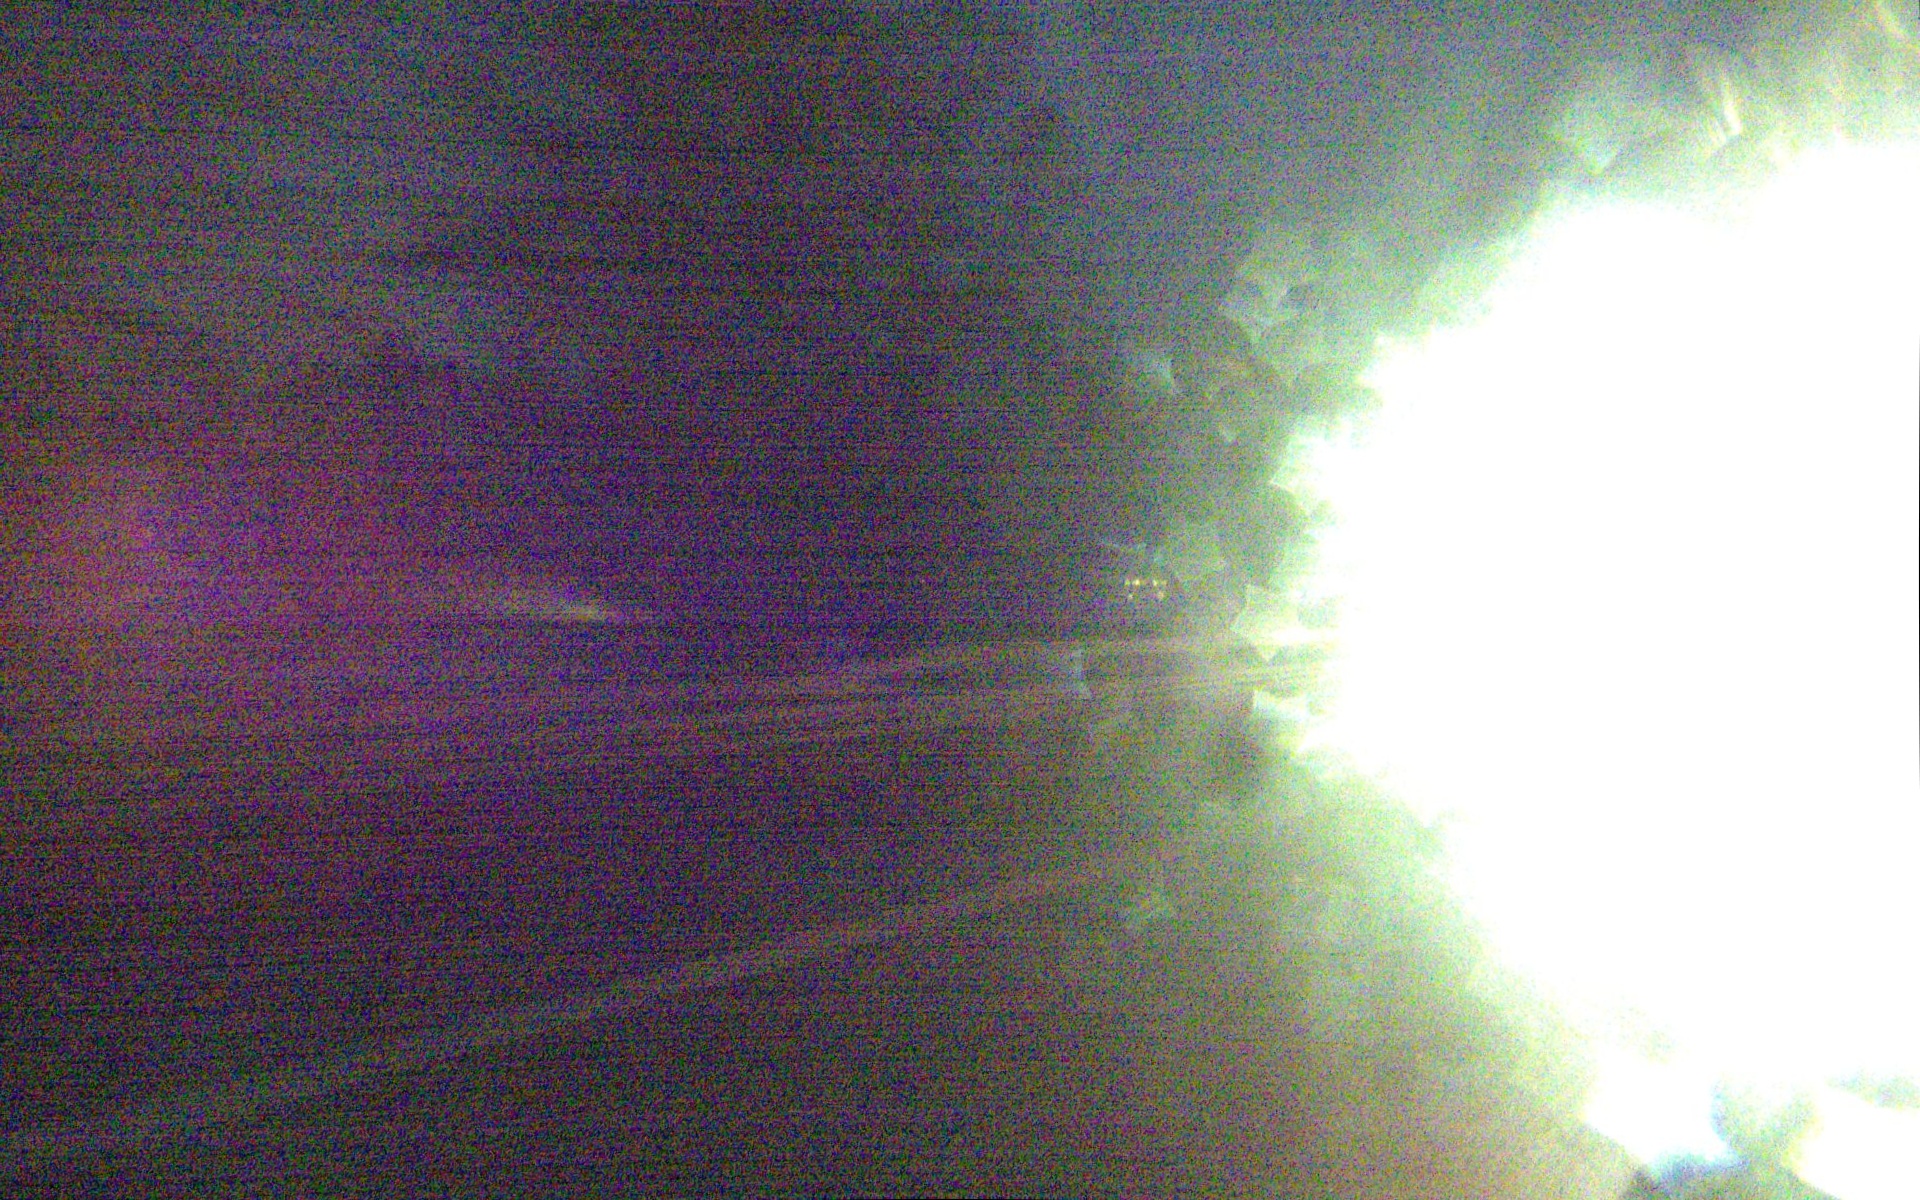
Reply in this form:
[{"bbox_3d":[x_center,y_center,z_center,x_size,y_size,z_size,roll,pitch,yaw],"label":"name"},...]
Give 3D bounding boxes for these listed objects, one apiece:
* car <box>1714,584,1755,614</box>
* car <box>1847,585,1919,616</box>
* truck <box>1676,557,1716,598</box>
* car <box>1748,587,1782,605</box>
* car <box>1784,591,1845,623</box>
[{"bbox_3d":[46.672,-0.105,61.019,1.731,1.705,4.068,-2,0,35],"label":"car"},{"bbox_3d":[48.042,0.049,52.742,1.715,1.500,4.003,-3,-1,27],"label":"car"},{"bbox_3d":[81.941,-2.482,112.784,2.513,4.392,5.516,-1,0,25],"label":"truck"},{"bbox_3d":[79.251,-0.404,99.705,1.772,1.672,4.015,0,-1,26],"label":"car"},{"bbox_3d":[37.168,0.280,44.107,1.751,1.328,4.031,-1,0,37],"label":"car"}]
